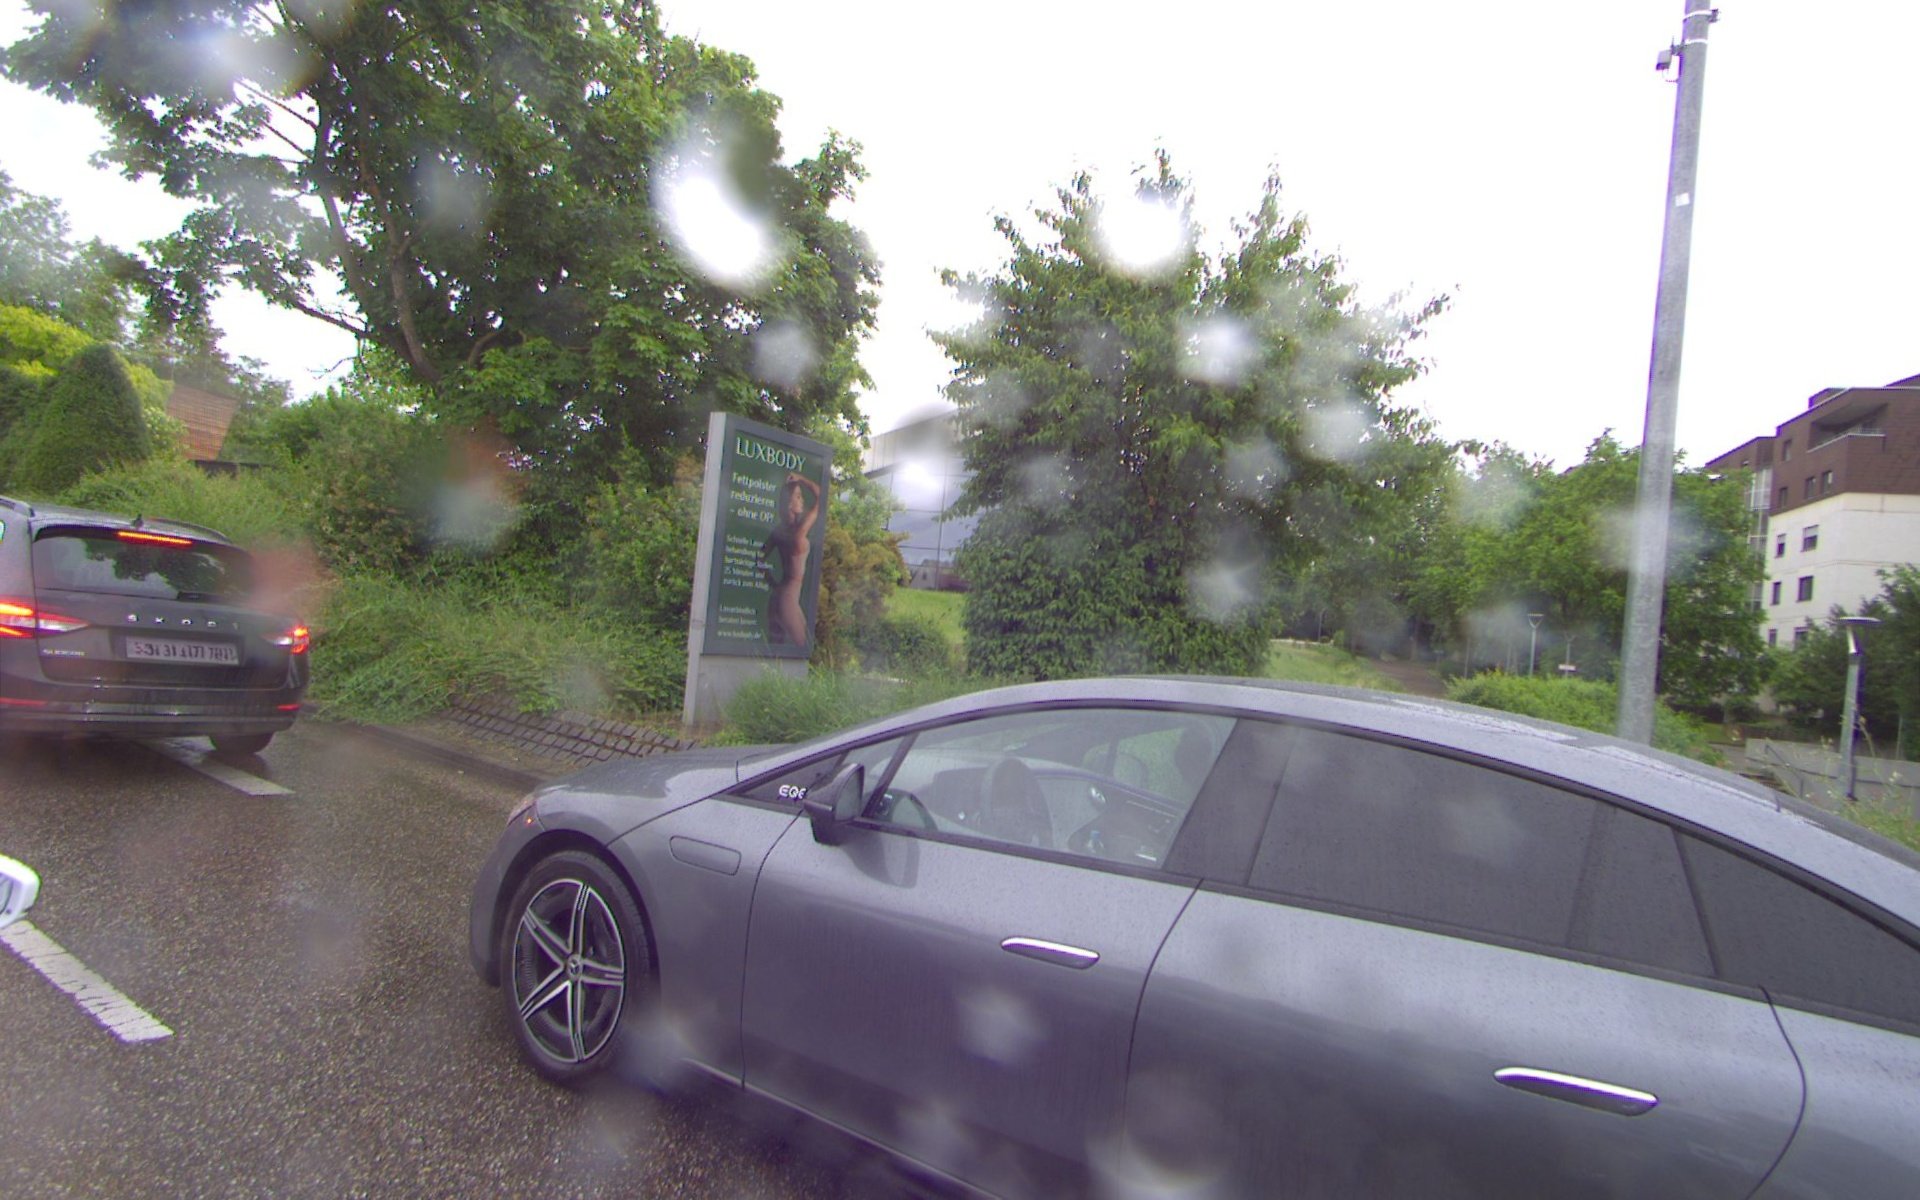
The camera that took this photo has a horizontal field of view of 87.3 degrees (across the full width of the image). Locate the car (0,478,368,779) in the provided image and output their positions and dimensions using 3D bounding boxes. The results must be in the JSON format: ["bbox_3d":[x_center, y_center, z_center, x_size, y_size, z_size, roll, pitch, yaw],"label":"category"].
[{"bbox_3d":[-6.112,0.015,6.767,4.279,1.483,1.841,7,-2,33],"label":"car"}]

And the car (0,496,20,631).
[{"bbox_3d":[-12.194,-0.645,10.862,4.048,1.483,1.842,7,-2,31],"label":"car"}]

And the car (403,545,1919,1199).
[{"bbox_3d":[0.717,0.902,2.910,4.728,1.483,1.842,7,-2,31],"label":"car"}]
